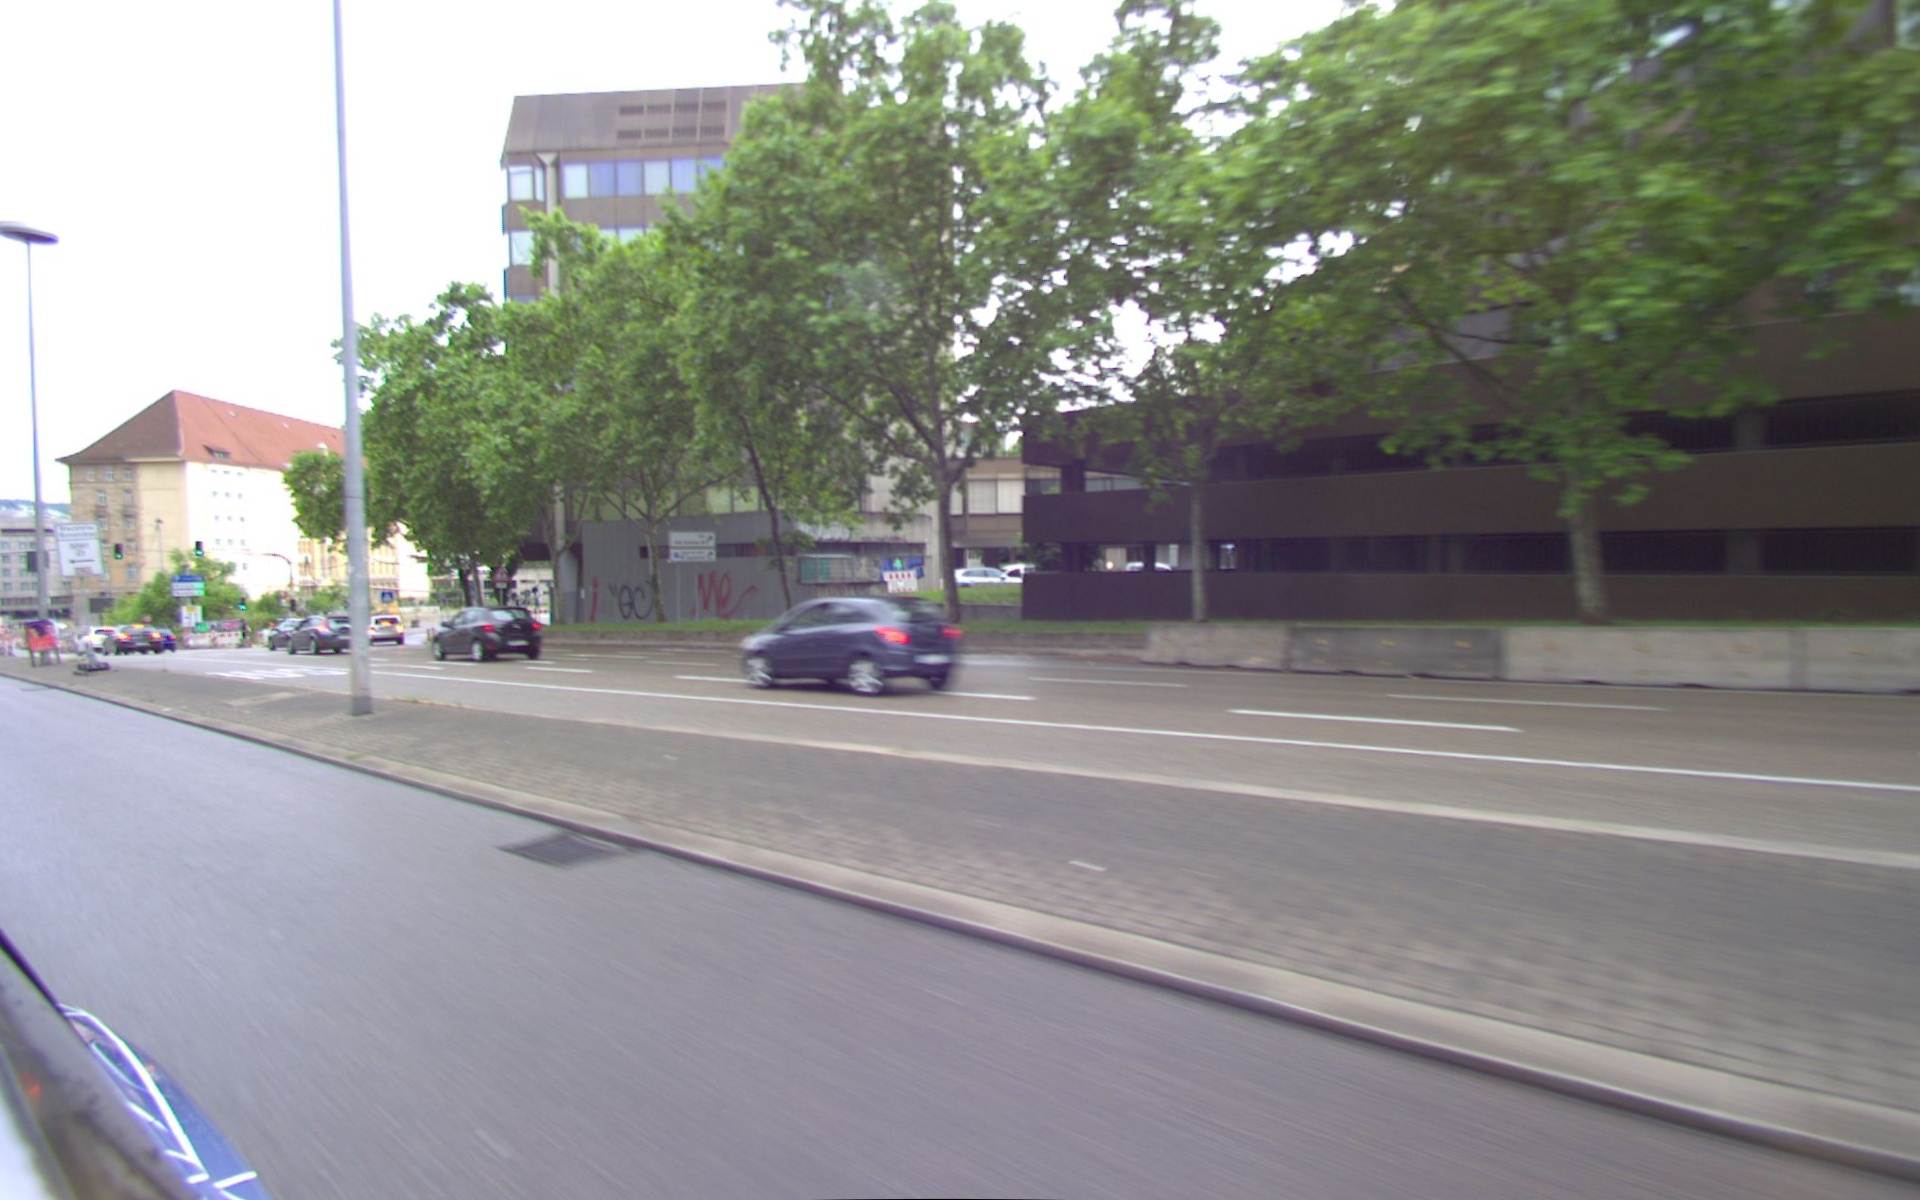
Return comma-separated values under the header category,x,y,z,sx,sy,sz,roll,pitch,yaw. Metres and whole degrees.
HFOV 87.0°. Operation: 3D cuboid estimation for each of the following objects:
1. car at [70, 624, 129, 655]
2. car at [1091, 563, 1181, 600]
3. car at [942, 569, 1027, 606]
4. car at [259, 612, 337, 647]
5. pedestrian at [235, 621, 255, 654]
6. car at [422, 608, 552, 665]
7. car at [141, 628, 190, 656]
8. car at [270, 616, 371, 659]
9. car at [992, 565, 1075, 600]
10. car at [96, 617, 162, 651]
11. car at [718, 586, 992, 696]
category,x,y,z,sx,sy,sz,roll,pitch,yaw
car,-44.581,2.014,52.413,3.862,1.497,1.775,-1,0,41
car,8.877,-0.925,51.117,3.994,1.730,1.975,-1,0,37
car,1.175,-0.622,50.028,3.937,1.730,2.003,-1,0,-7
car,-31.189,1.379,47.614,4.504,1.511,1.914,-1,0,41
pedestrian,-45.431,2.363,64.311,0.656,2.029,0.808,-1,0,10
car,-13.309,1.008,28.402,4.076,1.447,1.912,-2,-1,43
car,-46.248,2.437,58.882,3.438,1.497,1.774,-3,-2,43
car,-23.582,1.347,37.264,4.504,1.447,1.913,-2,-1,41
car,3.926,-0.956,54.159,3.931,1.730,2.007,-2,0,-25
car,-39.325,1.576,47.875,3.862,1.497,1.775,-1,0,41
car,-1.733,0.621,15.940,4.169,1.511,1.914,-3,-1,40
